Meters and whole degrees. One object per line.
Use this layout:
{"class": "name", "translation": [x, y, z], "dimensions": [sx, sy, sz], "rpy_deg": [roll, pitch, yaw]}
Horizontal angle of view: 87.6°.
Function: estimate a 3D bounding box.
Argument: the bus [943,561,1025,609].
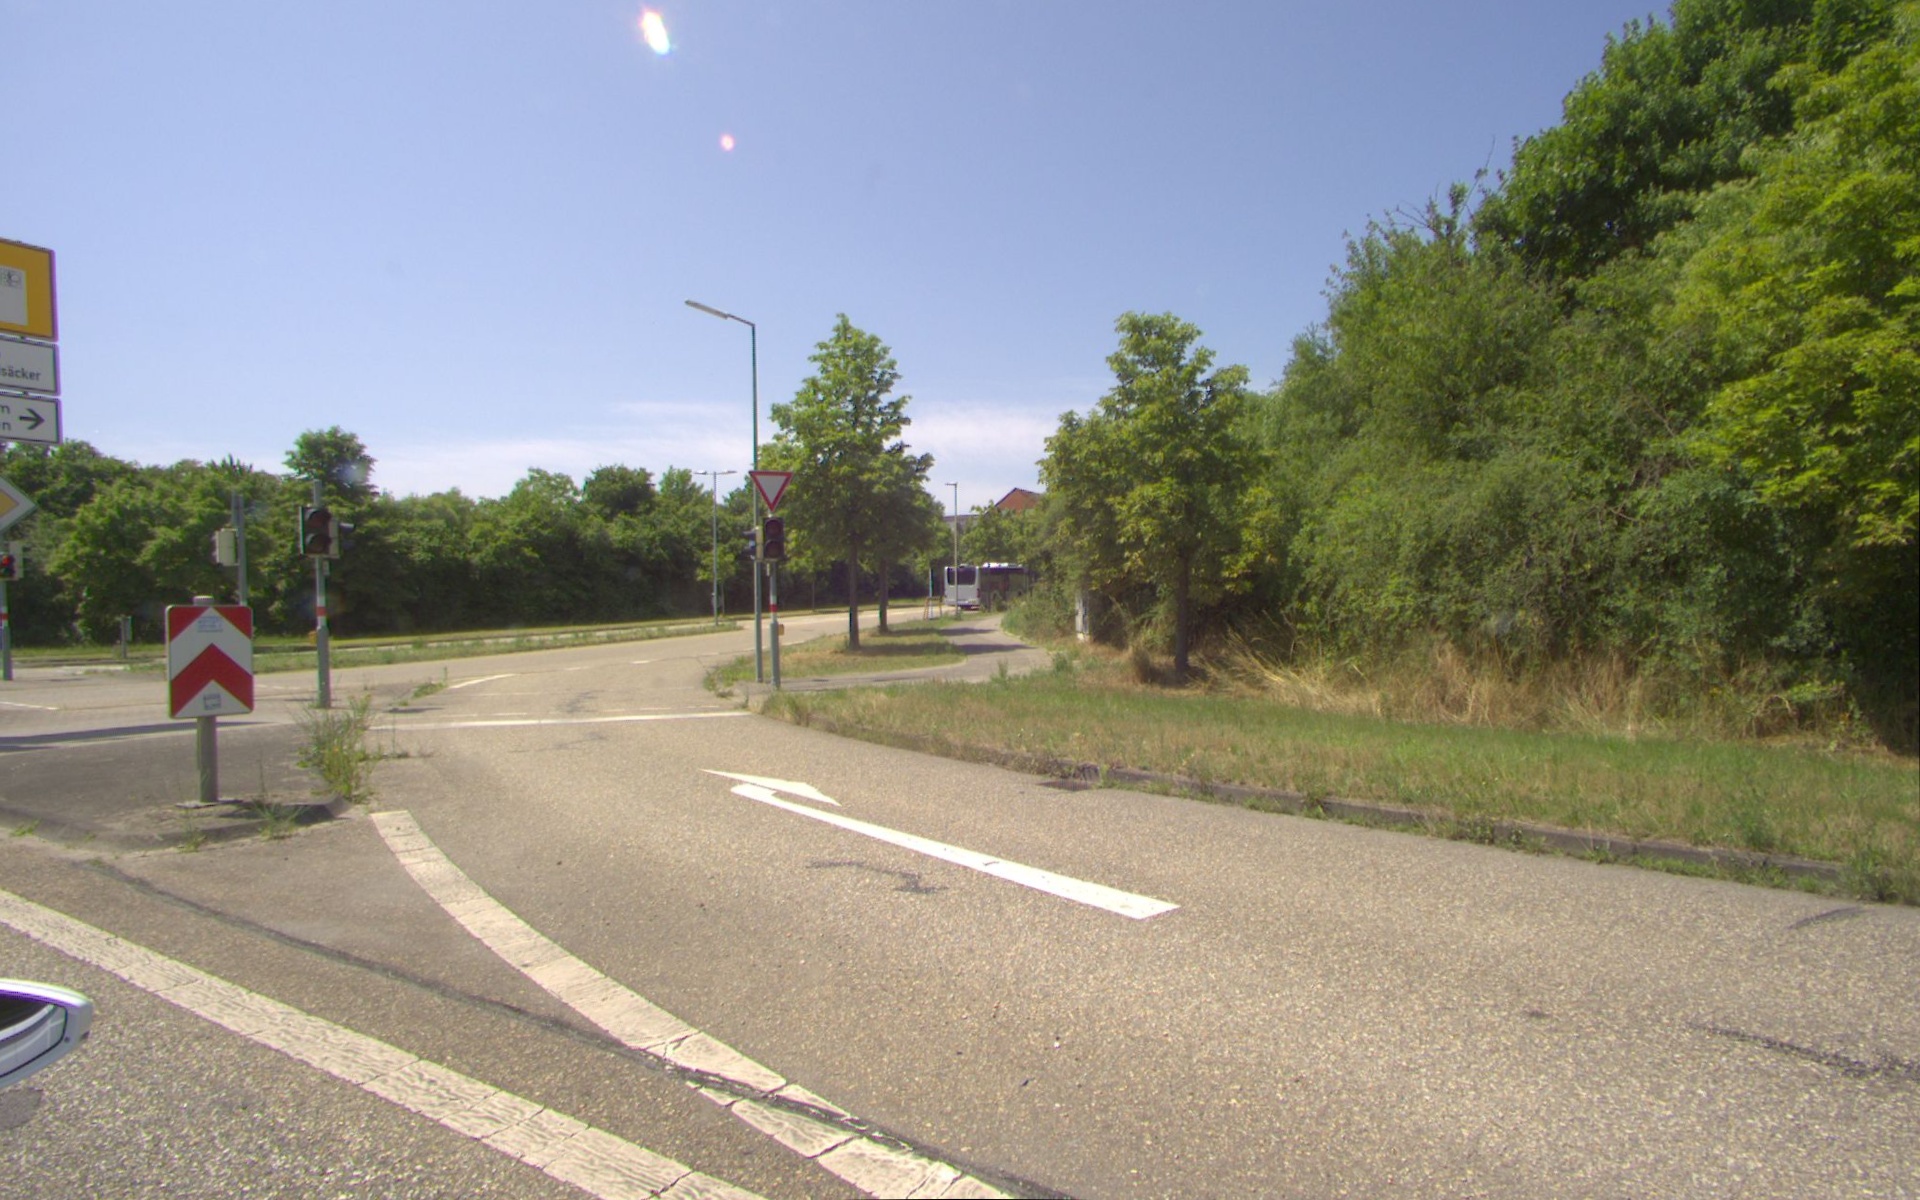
{"class": "bus", "translation": [1.922, -0.951, 70.955], "dimensions": [2.584, 3.127, 12.059], "rpy_deg": [0, 0, 18]}
